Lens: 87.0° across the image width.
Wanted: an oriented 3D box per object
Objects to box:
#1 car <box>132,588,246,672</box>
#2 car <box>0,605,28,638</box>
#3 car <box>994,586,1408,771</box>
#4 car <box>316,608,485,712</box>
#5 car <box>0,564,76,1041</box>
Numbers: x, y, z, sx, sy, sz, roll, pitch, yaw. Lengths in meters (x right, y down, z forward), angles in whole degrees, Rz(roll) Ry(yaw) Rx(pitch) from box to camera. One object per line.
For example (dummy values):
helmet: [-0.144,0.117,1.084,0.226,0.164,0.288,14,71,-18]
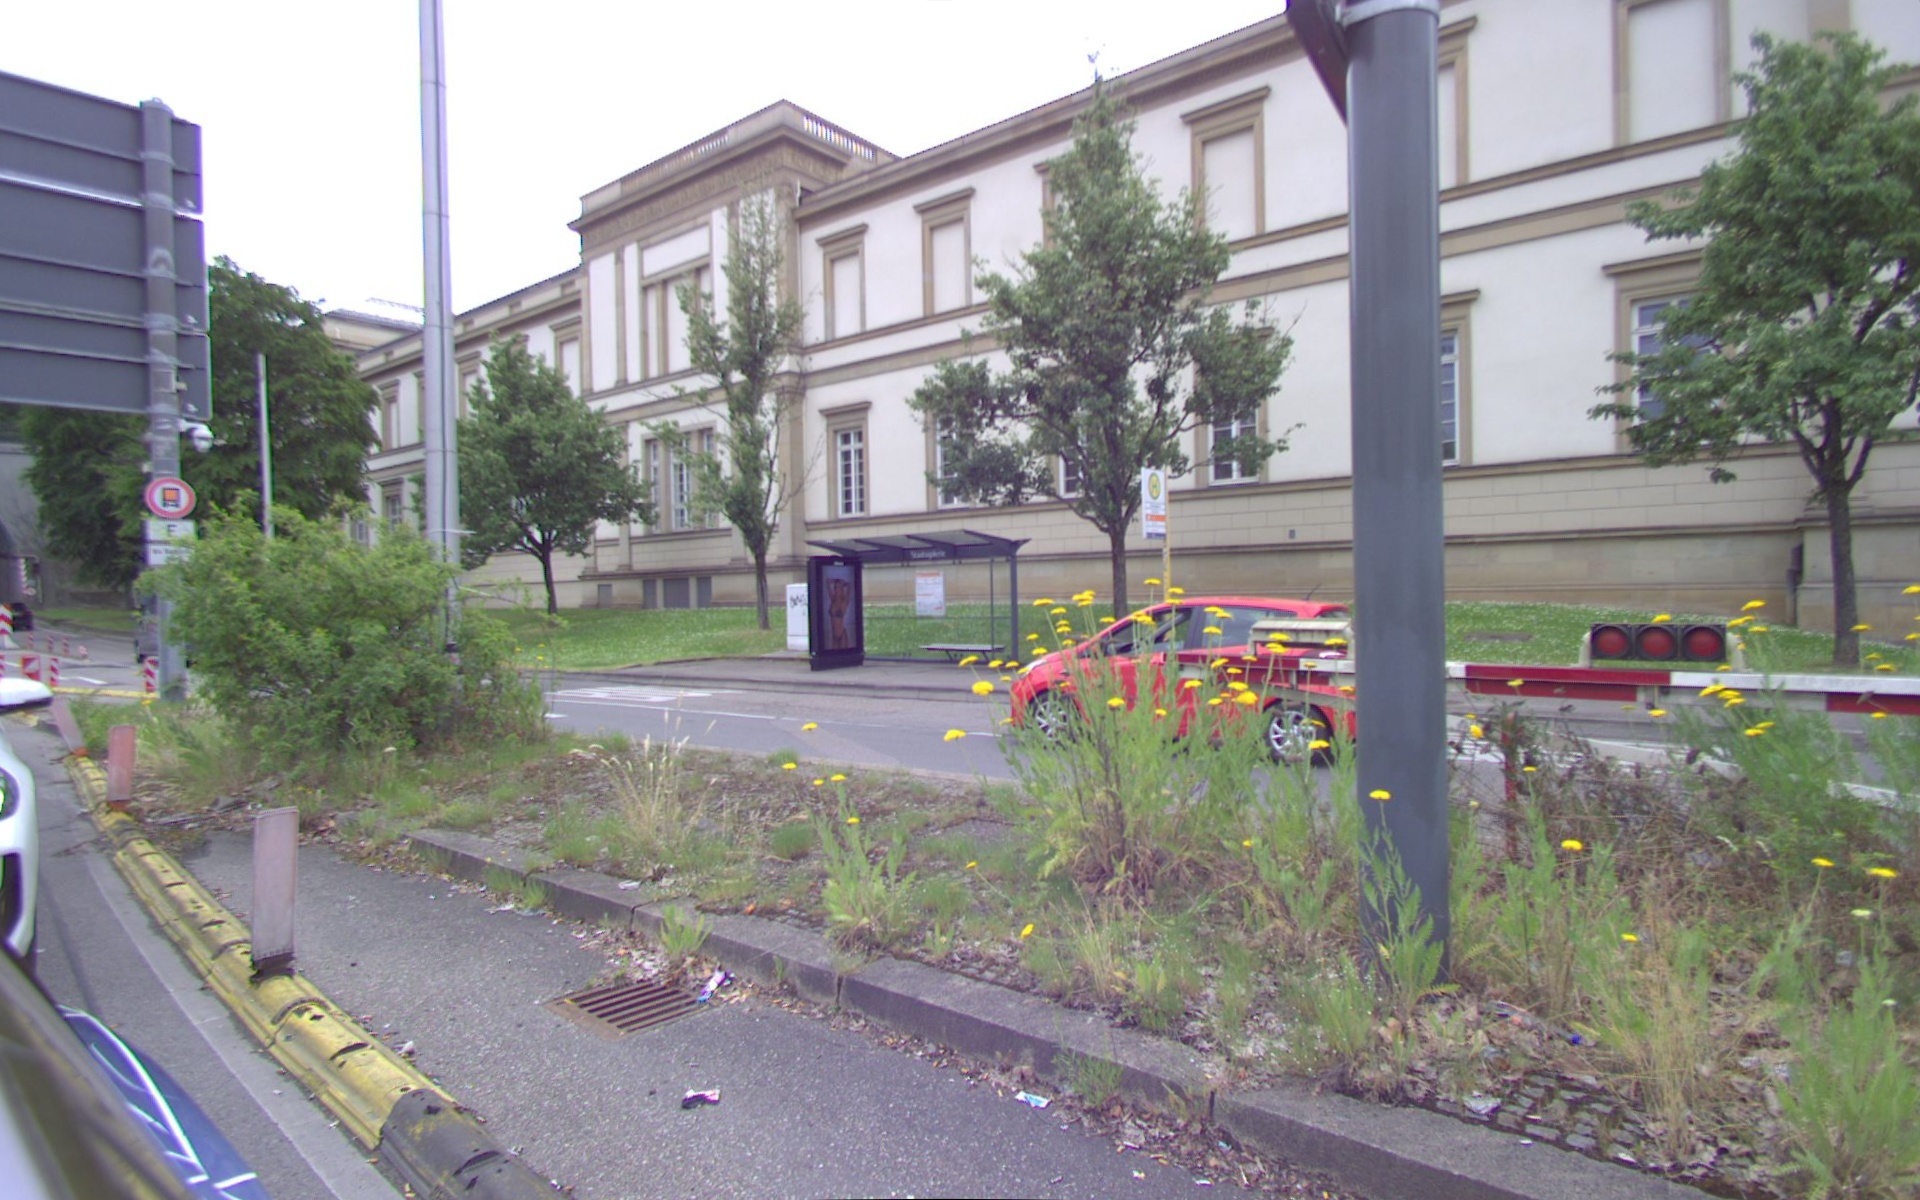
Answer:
car: [-25.079,0.911,32.851,4.758,2.527,2.174,-1,0,43]
car: [-53.303,1.195,56.279,4.001,1.736,1.920,-1,0,44]
car: [2.278,0.665,9.847,3.565,1.489,1.628,-1,-1,34]
car: [-10.133,0.985,18.208,1.753,1.630,3.807,-1,0,-44]
car: [-5.190,0.718,4.094,3.668,1.637,1.962,-1,0,41]
